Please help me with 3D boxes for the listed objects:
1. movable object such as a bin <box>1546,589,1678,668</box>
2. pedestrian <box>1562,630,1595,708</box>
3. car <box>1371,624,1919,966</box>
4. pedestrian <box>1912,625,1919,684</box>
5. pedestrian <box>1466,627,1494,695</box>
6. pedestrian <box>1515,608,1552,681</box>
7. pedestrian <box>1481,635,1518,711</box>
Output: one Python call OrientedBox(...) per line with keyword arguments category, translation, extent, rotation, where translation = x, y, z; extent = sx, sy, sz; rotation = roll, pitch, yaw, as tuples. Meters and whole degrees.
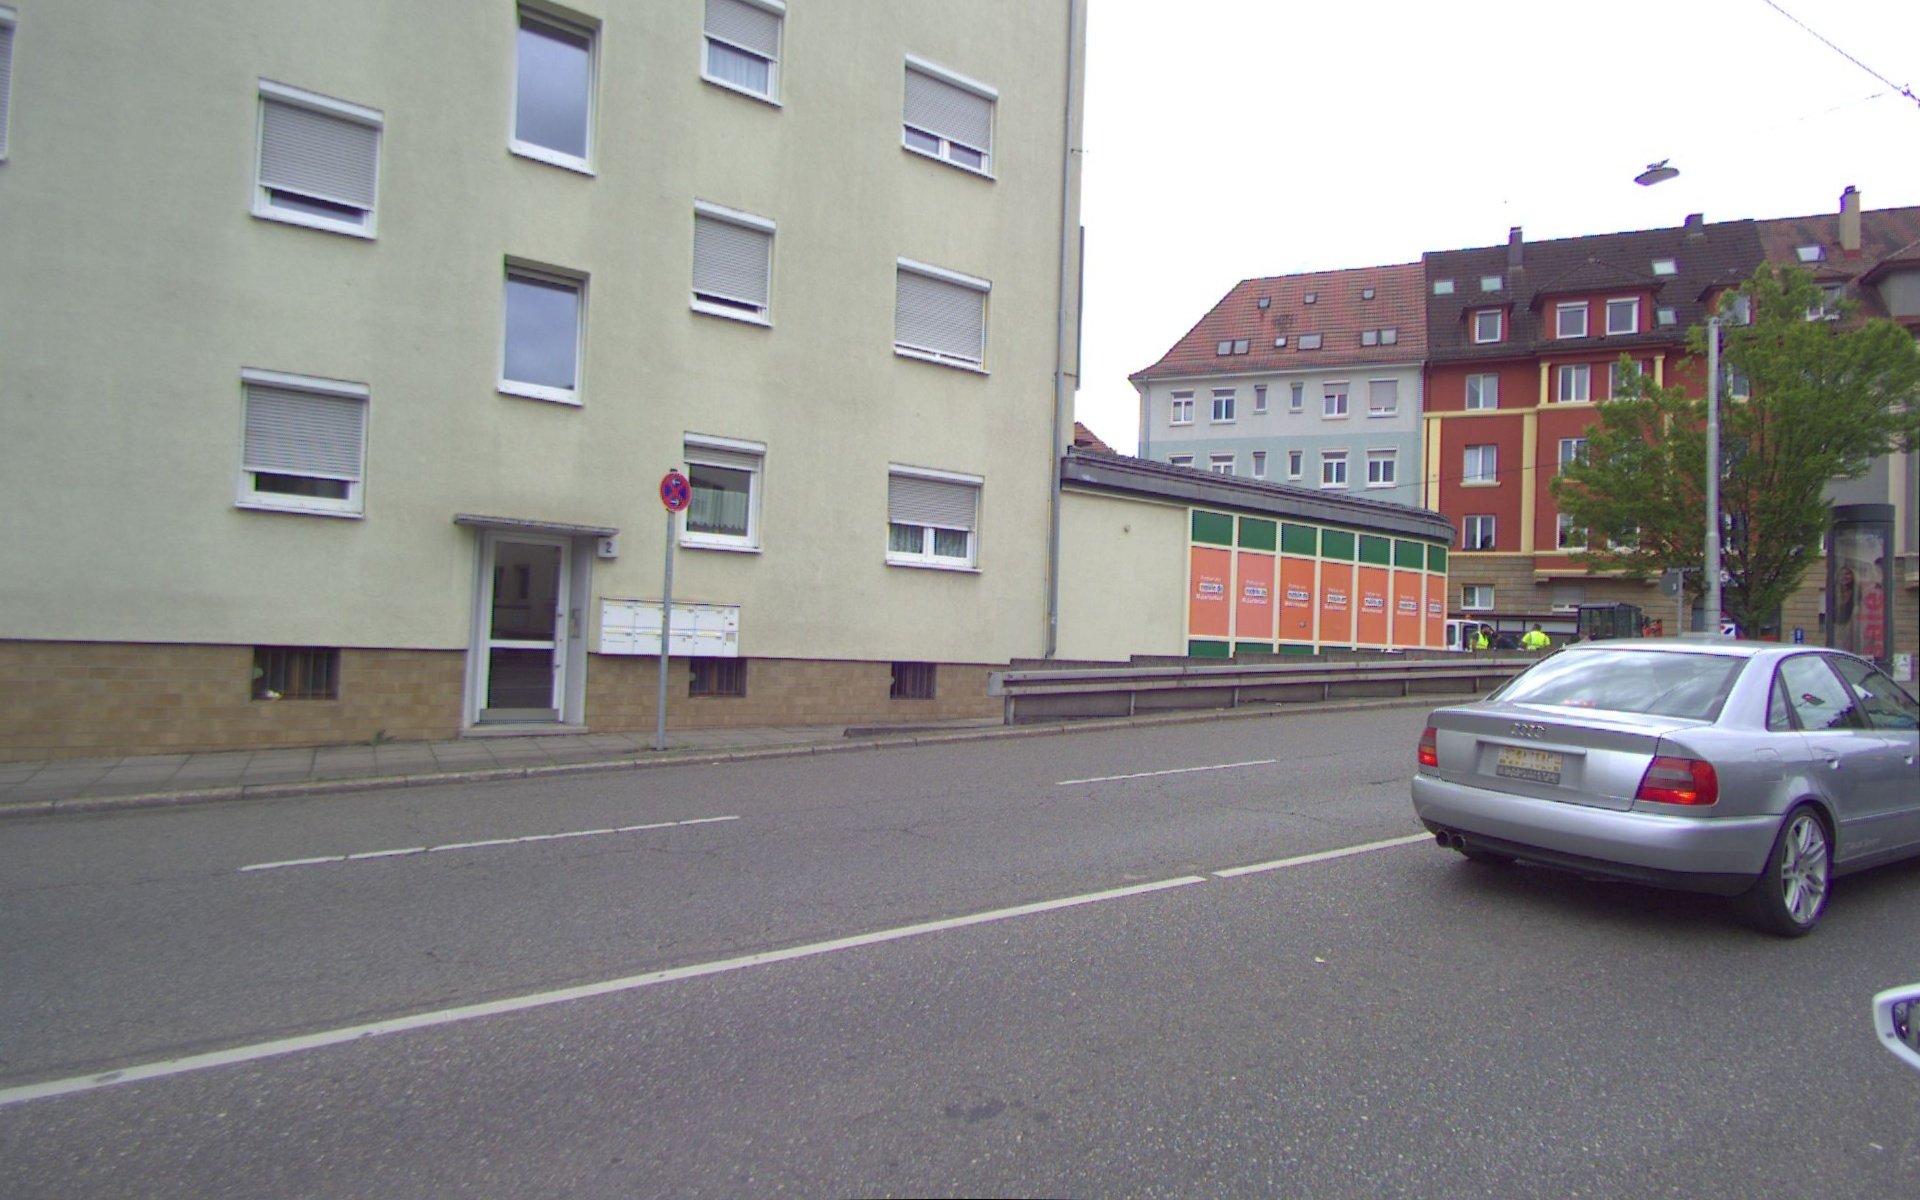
OrientedBox(category="movable object such as a bin", translation=(16.589, 0.701, 25.490), extent=(3.972, 1.795, 1.884), rotation=(2, 1, -43))
OrientedBox(category="pedestrian", translation=(14.374, 1.586, 23.361), extent=(0.533, 1.753, 0.593), rotation=(3, 1, 26))
OrientedBox(category="car", translation=(4.545, 0.866, 6.008), extent=(4.127, 1.391, 1.688), rotation=(0, 0, -29))
OrientedBox(category="pedestrian", translation=(26.120, 1.485, 27.004), extent=(0.480, 1.588, 0.586), rotation=(2, 1, -30))
OrientedBox(category="pedestrian", translation=(13.654, 1.590, 26.375), extent=(0.467, 1.753, 0.543), rotation=(2, 1, 14))
OrientedBox(category="pedestrian", translation=(14.423, 1.122, 25.257), extent=(0.613, 1.785, 0.566), rotation=(1, 1, -39))
OrientedBox(category="pedestrian", translation=(12.675, 1.706, 23.600), extent=(0.539, 1.722, 0.557), rotation=(1, 1, -41))
